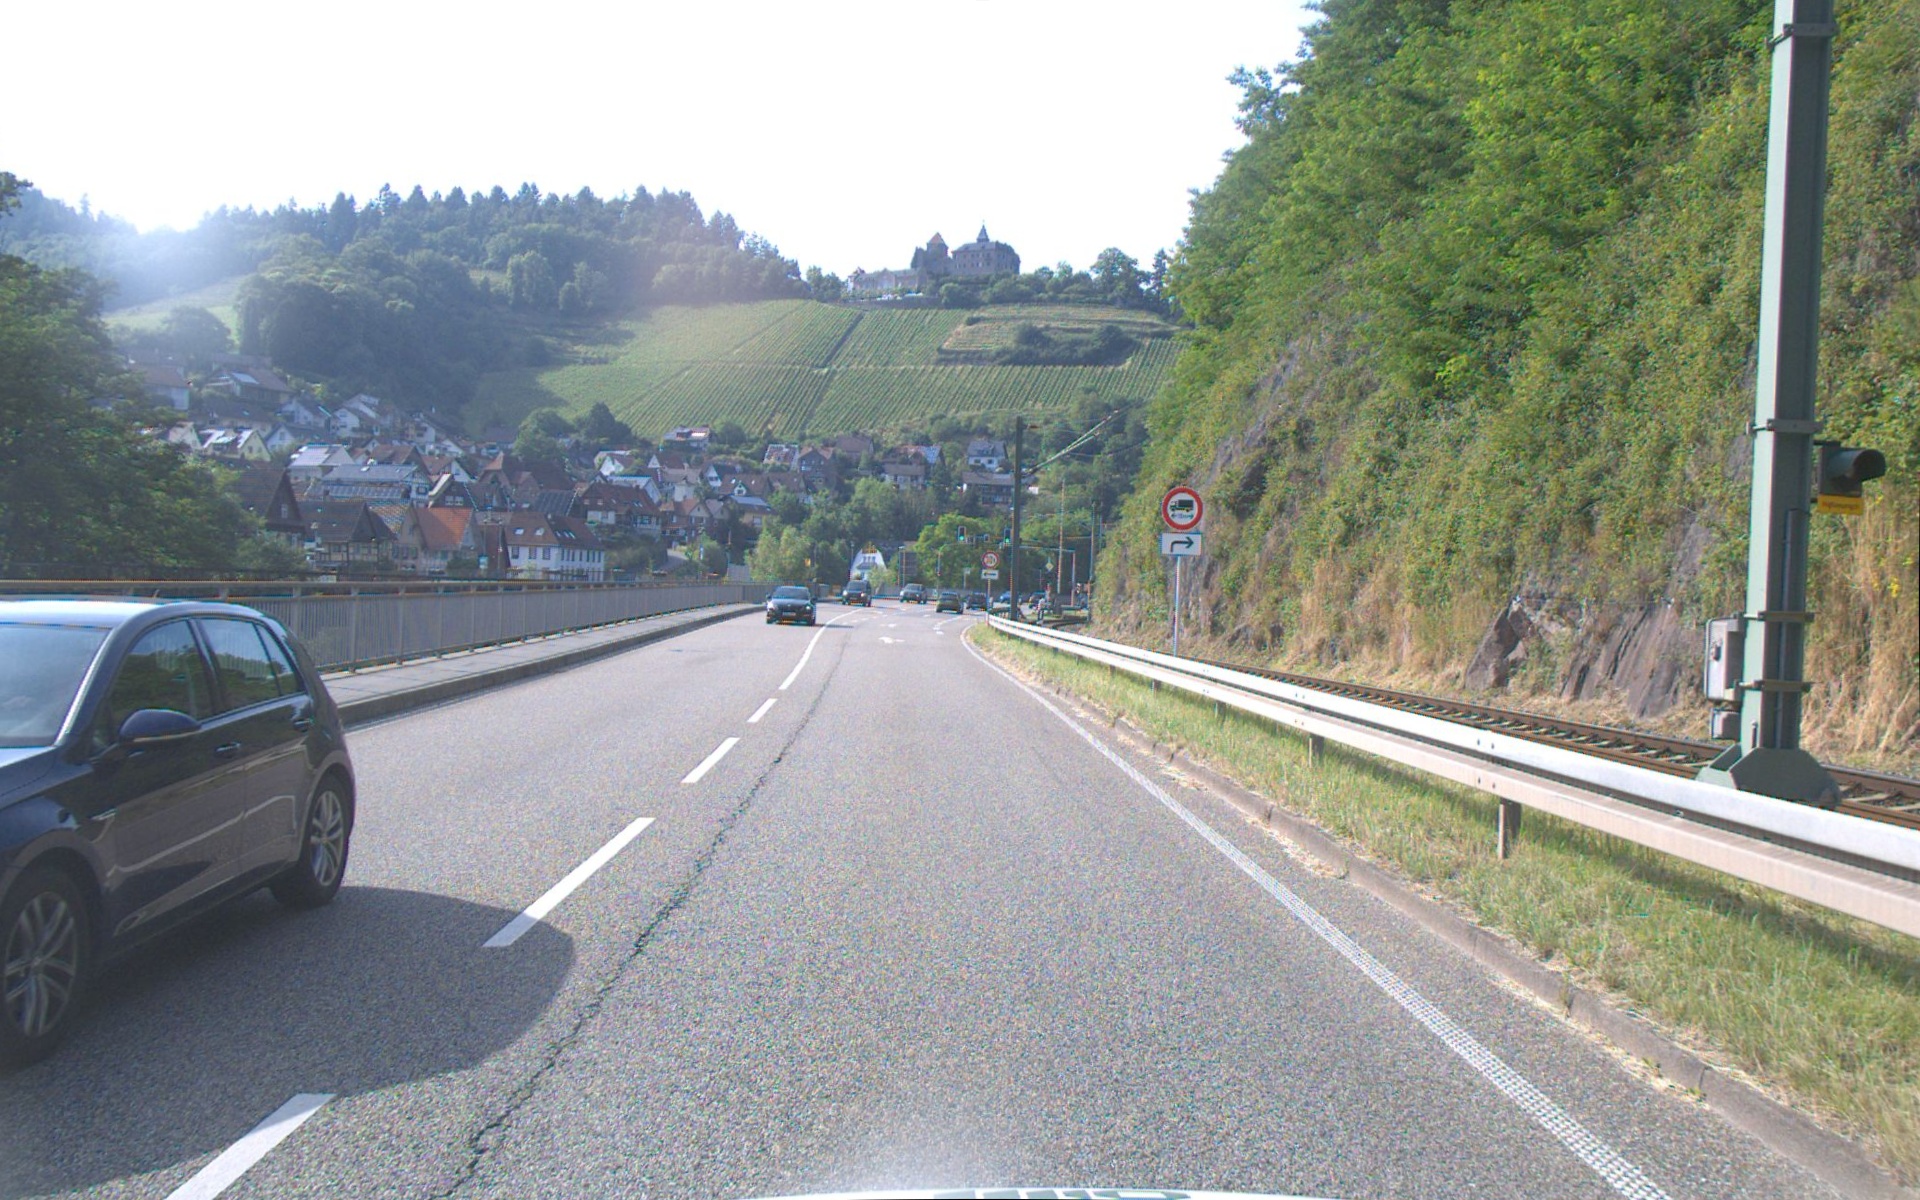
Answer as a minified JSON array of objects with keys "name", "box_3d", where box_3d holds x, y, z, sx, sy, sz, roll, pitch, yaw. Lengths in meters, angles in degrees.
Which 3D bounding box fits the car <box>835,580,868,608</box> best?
[{"name":"car","box_3d":[-7.778,-0.447,118.695,1.754,1.859,4.830,2,0,3]}]

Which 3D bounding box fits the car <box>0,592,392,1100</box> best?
[{"name":"car","box_3d":[-3.658,0.701,6.367,1.669,1.456,4.072,1,0,-3]}]

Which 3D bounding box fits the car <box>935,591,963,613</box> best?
[{"name":"car","box_3d":[-0.786,0.166,118.153,1.692,1.482,3.412,2,-1,4]}]

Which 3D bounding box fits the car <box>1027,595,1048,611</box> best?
[{"name":"car","box_3d":[7.818,0.291,167.445,1.768,1.478,3.650,2,-1,8]}]

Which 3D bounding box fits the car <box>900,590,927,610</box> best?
[{"name":"car","box_3d":[-4.117,-0.006,146.128,1.778,1.675,4.615,3,0,6]}]

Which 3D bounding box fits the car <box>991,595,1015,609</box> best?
[{"name":"car","box_3d":[4.831,0.260,185.659,1.744,1.507,4.529,3,0,13]}]

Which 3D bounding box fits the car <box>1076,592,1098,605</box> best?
[{"name":"car","box_3d":[14.515,-0.179,189.097,1.770,1.433,3.775,1,-1,17]}]

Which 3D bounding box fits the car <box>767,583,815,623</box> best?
[{"name":"car","box_3d":[-6.464,0.097,63.545,1.686,1.460,4.336,1,0,-4]}]

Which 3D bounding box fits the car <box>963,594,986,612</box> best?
[{"name":"car","box_3d":[1.230,0.261,138.212,1.802,1.485,3.714,2,-1,3]}]
